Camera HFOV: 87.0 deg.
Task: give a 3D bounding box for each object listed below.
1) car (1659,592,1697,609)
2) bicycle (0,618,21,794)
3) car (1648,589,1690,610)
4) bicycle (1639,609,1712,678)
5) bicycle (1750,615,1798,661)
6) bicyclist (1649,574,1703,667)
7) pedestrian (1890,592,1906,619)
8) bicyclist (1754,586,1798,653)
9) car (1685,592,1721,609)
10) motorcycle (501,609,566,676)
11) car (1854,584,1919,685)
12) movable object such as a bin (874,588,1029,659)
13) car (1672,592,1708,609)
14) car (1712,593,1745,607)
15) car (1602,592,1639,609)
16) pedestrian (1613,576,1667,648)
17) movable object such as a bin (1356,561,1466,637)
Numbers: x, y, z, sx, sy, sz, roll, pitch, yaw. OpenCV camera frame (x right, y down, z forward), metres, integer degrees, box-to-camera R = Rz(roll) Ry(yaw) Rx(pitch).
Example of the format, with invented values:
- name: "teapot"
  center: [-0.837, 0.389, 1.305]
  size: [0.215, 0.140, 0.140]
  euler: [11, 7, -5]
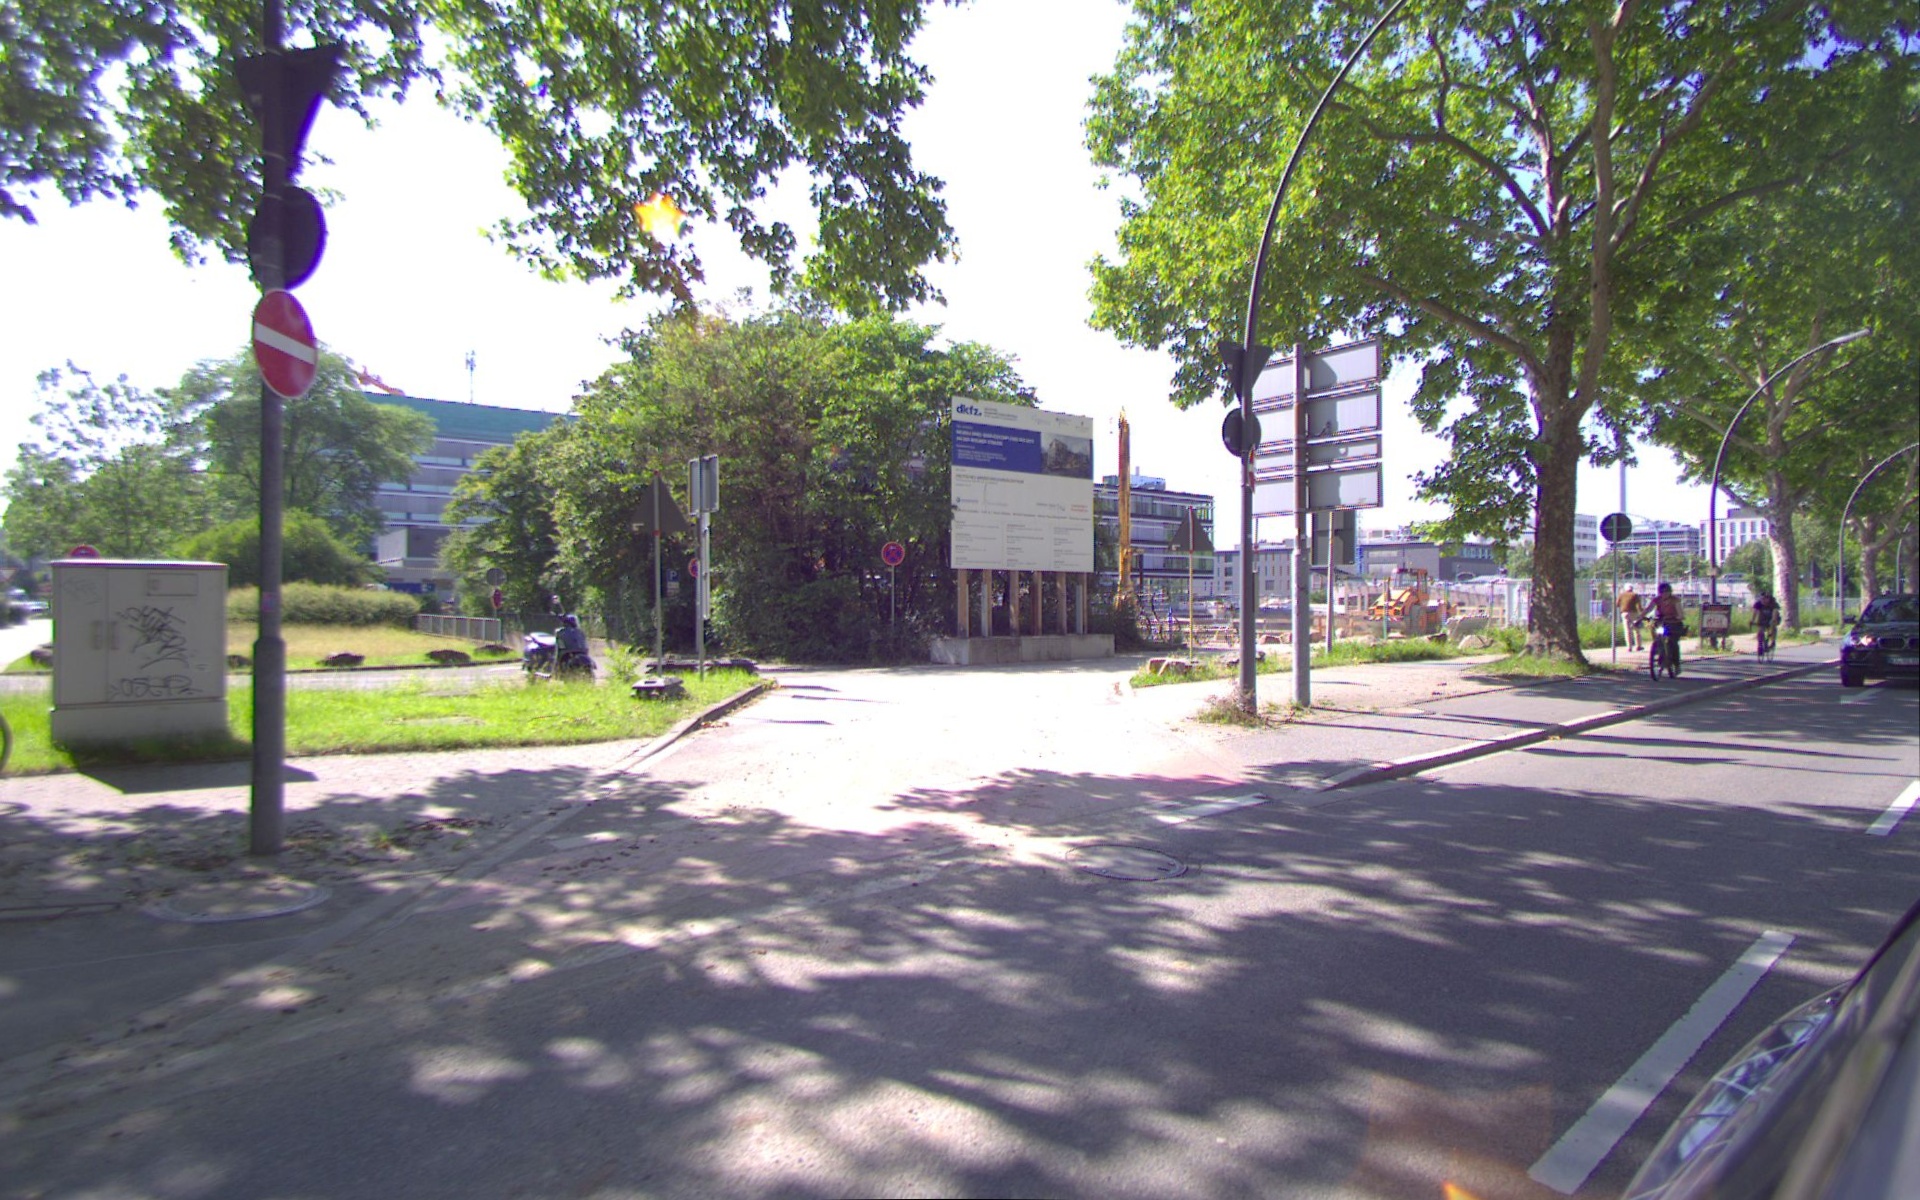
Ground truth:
- name: "car"
  center: [98.411, 0.109, 138.773]
  size: [1.779, 2.352, 3.990]
  euler: [1, -1, -44]
- name: "bicycle"
  center: [-6.698, 0.669, 5.976]
  size: [1.669, 1.095, 0.350]
  euler: [0, -1, -41]
- name: "car"
  center: [94.415, -0.068, 134.751]
  size: [1.779, 2.774, 4.366]
  euler: [1, -1, -44]
- name: "bicycle"
  center: [12.857, 0.749, 18.173]
  size: [1.912, 1.143, 0.652]
  euler: [0, 1, -42]
- name: "bicycle"
  center: [19.099, 0.881, 23.725]
  size: [1.751, 0.992, 0.598]
  euler: [0, 2, -43]
- name: "bicyclist"
  center: [12.864, 0.362, 18.181]
  size: [0.720, 1.620, 0.620]
  euler: [1, 1, -43]
- name: "pedestrian"
  center: [61.764, 0.365, 66.633]
  size: [1.048, 1.746, 0.710]
  euler: [1, -1, -43]
- name: "bicyclist"
  center: [19.161, 0.444, 23.757]
  size: [1.194, 1.508, 0.599]
  euler: [1, 2, -43]
- name: "car"
  center: [109.194, 0.073, 148.733]
  size: [1.779, 2.352, 3.990]
  euler: [1, -1, -44]
- name: "motorcycle"
  center: [-6.534, 0.631, 15.493]
  size: [1.219, 0.980, 0.464]
  euler: [-1, -1, 43]
- name: "car"
  center: [18.149, 0.586, 18.700]
  size: [4.079, 1.752, 1.922]
  euler: [0, -1, -41]
- name: "movable object such as a bin"
  center: [-0.540, 1.767, 79.089]
  size: [11.557, 5.242, 6.753]
  euler: [-1, -1, 2]
- name: "car"
  center: [104.067, 0.089, 144.308]
  size: [1.779, 2.352, 3.990]
  euler: [1, -1, -44]
- name: "car"
  center: [123.703, 0.021, 162.896]
  size: [1.779, 2.352, 3.990]
  euler: [1, -1, -44]
- name: "car"
  center: [90.647, 0.106, 138.946]
  size: [1.779, 2.352, 3.990]
  euler: [1, -1, -44]
- name: "pedestrian"
  center: [18.633, 0.323, 27.744]
  size: [1.131, 1.916, 0.940]
  euler: [0, -1, -40]
- name: "movable object such as a bin"
  center: [19.965, -0.013, 44.653]
  size: [5.886, 3.111, 2.371]
  euler: [0, -1, -44]
